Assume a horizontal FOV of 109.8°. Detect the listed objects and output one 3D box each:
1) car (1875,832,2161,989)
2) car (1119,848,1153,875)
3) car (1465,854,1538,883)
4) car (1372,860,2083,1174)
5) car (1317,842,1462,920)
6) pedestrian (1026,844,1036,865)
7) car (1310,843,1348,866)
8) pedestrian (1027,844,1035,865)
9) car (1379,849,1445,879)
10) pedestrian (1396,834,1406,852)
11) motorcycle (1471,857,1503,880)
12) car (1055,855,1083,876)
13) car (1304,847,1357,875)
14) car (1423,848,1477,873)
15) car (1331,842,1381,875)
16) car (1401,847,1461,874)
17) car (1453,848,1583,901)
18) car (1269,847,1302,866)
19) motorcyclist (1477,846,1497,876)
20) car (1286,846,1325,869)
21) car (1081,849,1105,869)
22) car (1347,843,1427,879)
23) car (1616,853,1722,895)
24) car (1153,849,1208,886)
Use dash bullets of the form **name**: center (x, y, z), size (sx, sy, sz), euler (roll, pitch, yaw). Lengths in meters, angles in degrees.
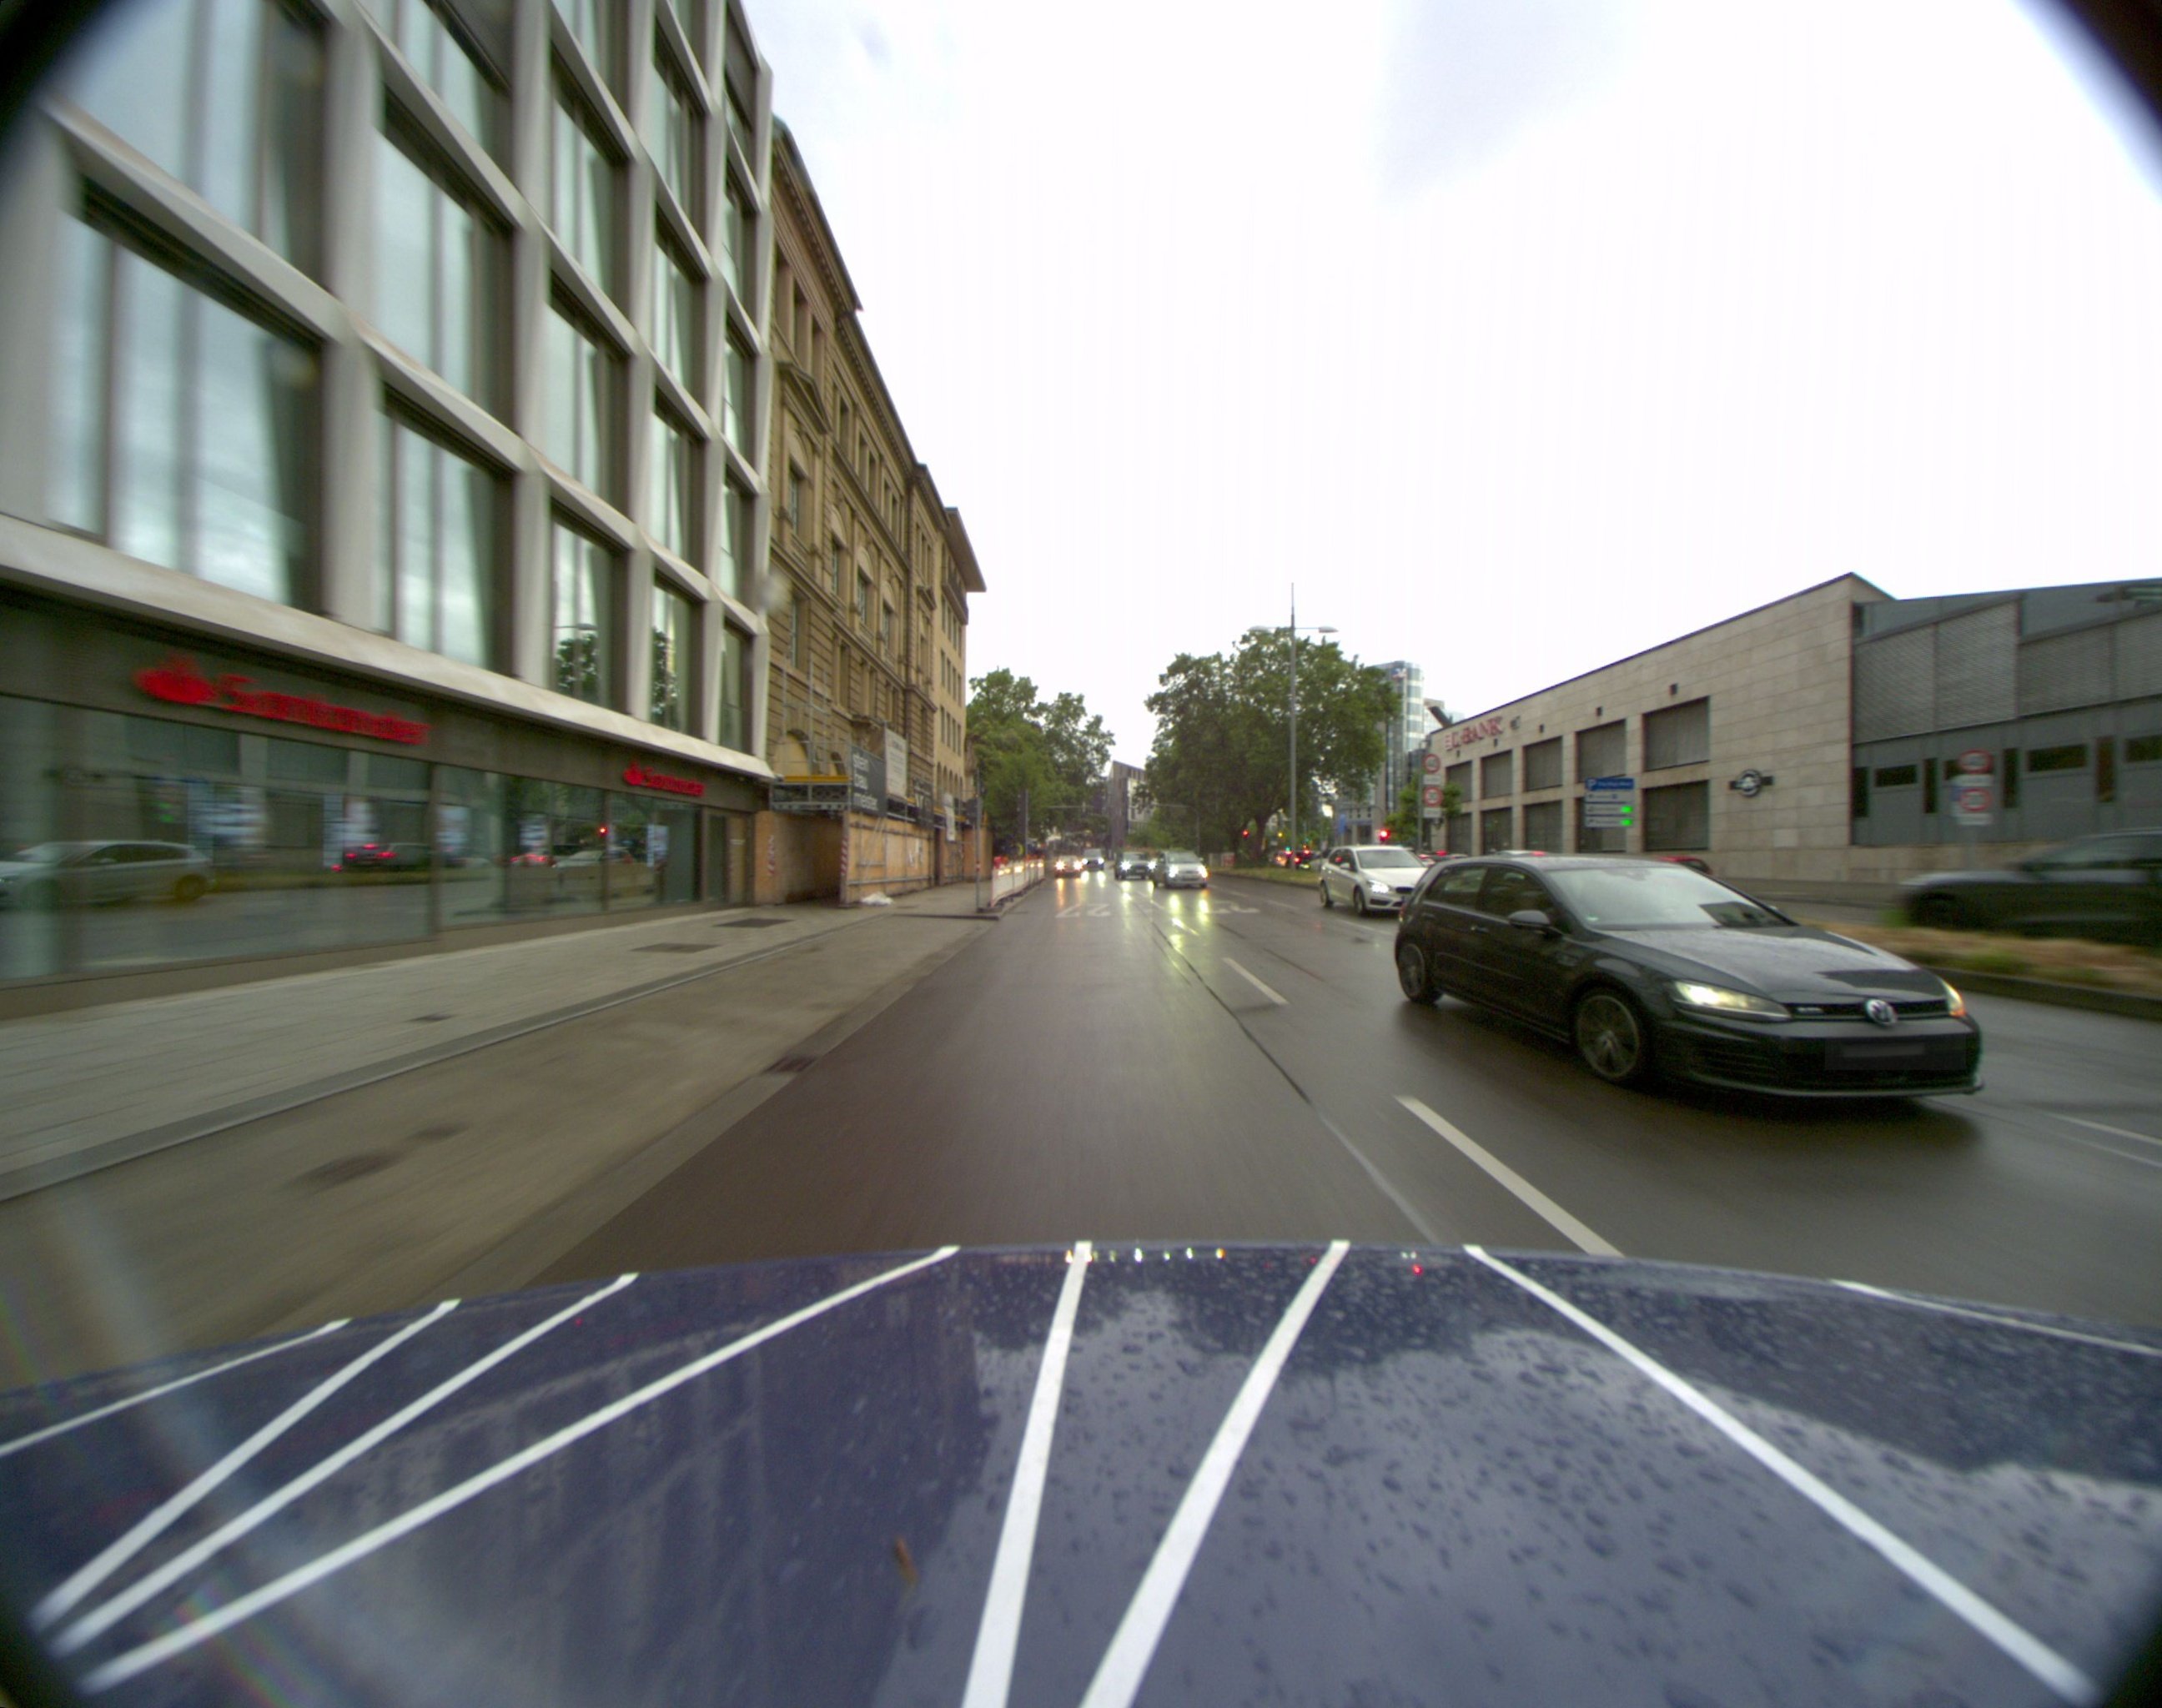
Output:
- **car**: center (12.449, 0.592, 8.659), size (1.878, 1.671, 4.679), euler (0, 1, 0)
- **car**: center (3.125, 0.392, 43.663), size (1.716, 1.433, 3.493), euler (1, 1, 0)
- **car**: center (23.048, 0.736, 41.834), size (1.751, 1.407, 4.706), euler (0, 1, 5)
- **car**: center (4.016, 0.817, 5.824), size (1.789, 1.444, 4.121), euler (-1, 1, -3)
- **car**: center (6.984, 0.523, 17.686), size (1.781, 1.587, 3.999), euler (0, 1, 1)
- **pedestrian**: center (-4.285, 0.059, 65.171), size (0.592, 1.824, 0.628), euler (-1, 2, -26)
- **car**: center (18.268, 0.018, 56.078), size (1.835, 1.630, 4.092), euler (0, 1, 6)
- **pedestrian**: center (-4.352, 0.041, 65.953), size (0.634, 1.824, 0.563), euler (0, 2, 4)
- **car**: center (17.121, 0.478, 39.537), size (1.730, 1.424, 4.396), euler (0, 1, 4)
- **pedestrian**: center (34.835, -1.189, 82.833), size (0.589, 1.913, 1.125), euler (-2, 1, 1)
- **motorcycle**: center (20.339, 0.702, 38.090), size (0.550, 1.124, 2.033), euler (0, 0, 2)
- **car**: center (-0.761, 0.713, 49.628), size (1.716, 1.274, 3.493), euler (0, 1, 0)
- **car**: center (14.253, 0.368, 43.643), size (1.864, 1.434, 4.313), euler (2, 1, 4)
- **car**: center (23.520, 0.382, 48.624), size (1.751, 1.407, 4.294), euler (0, 1, 6)
- **car**: center (17.707, 0.257, 49.208), size (1.835, 1.991, 5.105), euler (0, 1, 5)
- **car**: center (20.862, 0.349, 45.505), size (1.730, 1.524, 4.640), euler (0, 1, 4)
- **car**: center (12.732, 0.532, 22.427), size (1.600, 1.352, 4.116), euler (0, 1, 3)
- **car**: center (15.476, 0.162, 57.584), size (1.751, 1.357, 4.132), euler (0, 1, 6)
- **motorcyclist**: center (20.335, 0.344, 38.035), size (0.521, 1.520, 0.973), euler (0, 0, 3)
- **car**: center (14.845, 0.203, 50.415), size (1.751, 1.357, 3.944), euler (0, 1, 6)
- **car**: center (1.085, 0.399, 66.887), size (1.998, 1.734, 3.910), euler (0, 1, 2)
- **car**: center (13.207, 0.244, 33.076), size (1.704, 1.429, 4.581), euler (0, 1, 1)
- **car**: center (22.179, 0.710, 28.829), size (1.595, 1.407, 3.401), euler (0, 1, 5)
- **car**: center (4.095, 0.519, 31.697), size (1.612, 1.433, 3.493), euler (-1, 1, -3)
